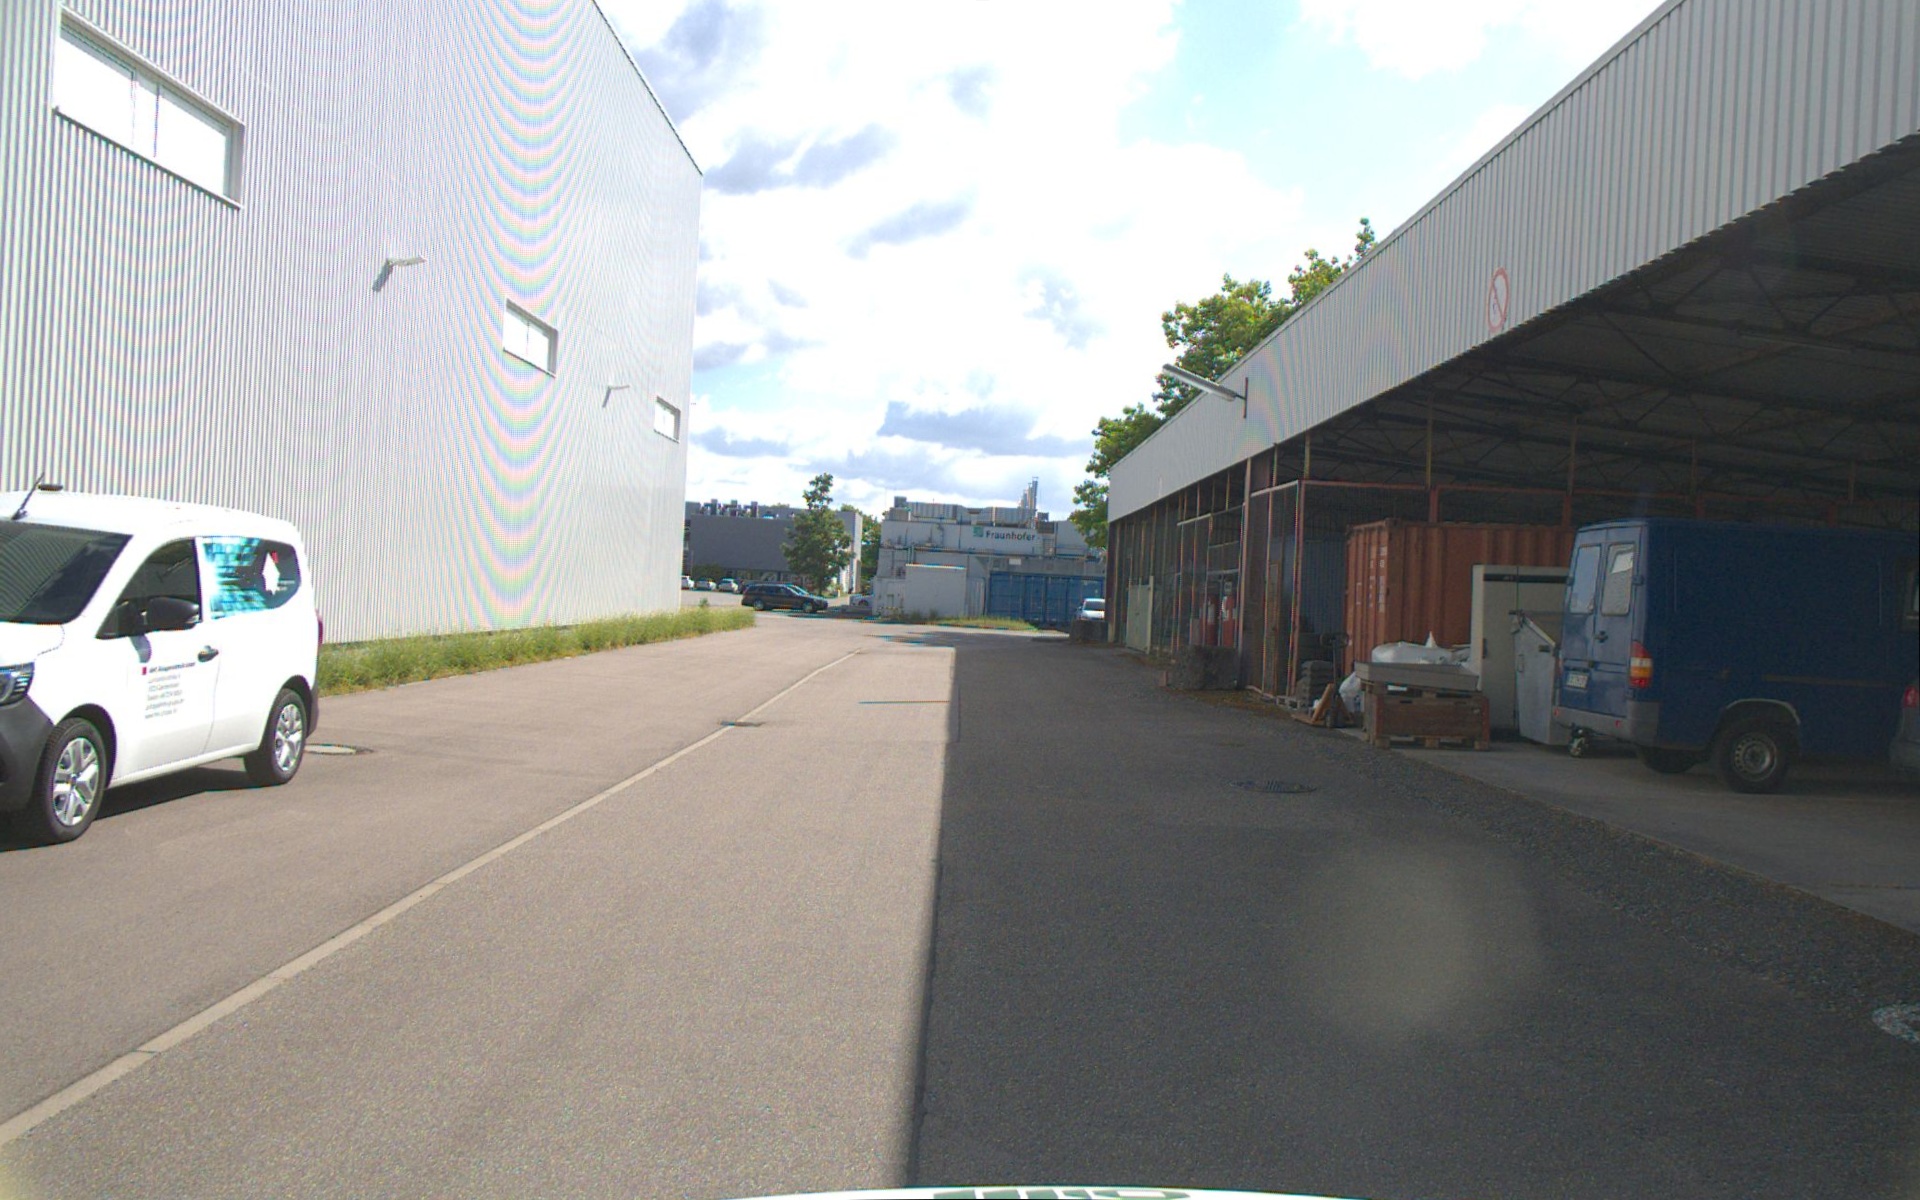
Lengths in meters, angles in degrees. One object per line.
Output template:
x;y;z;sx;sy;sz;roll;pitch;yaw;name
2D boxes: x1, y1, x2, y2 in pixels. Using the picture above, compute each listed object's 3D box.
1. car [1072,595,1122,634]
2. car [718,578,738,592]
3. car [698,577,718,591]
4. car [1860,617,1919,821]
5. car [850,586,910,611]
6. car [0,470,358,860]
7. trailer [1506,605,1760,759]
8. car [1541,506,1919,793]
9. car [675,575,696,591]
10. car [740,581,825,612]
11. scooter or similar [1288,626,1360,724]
6.560;0.681;79.504;1.941;1.621;4.340;3;1;-1;car
-26.457;-1.731;188.751;1.840;1.564;4.033;1;0;-3;car
-28.736;-1.785;188.504;1.840;1.564;4.033;1;0;-3;car
8.999;0.916;11.916;4.024;1.479;1.850;1;0;-1;car
-5.774;-0.106;119.708;4.192;1.596;1.987;3;-2;0;car
-5.399;0.230;9.781;1.889;1.821;4.597;4;0;0;car
7.138;0.841;17.700;2.050;1.488;1.642;2;-1;3;trailer
8.259;0.481;15.109;5.110;2.337;2.083;2;0;-1;car
-31.250;-1.922;188.626;1.840;1.719;4.033;1;0;-3;car
-9.840;-0.185;91.916;4.437;1.468;1.987;3;-2;0;car
4.571;0.920;20.848;0.510;1.154;1.592;2;-1;-1;scooter or similar
